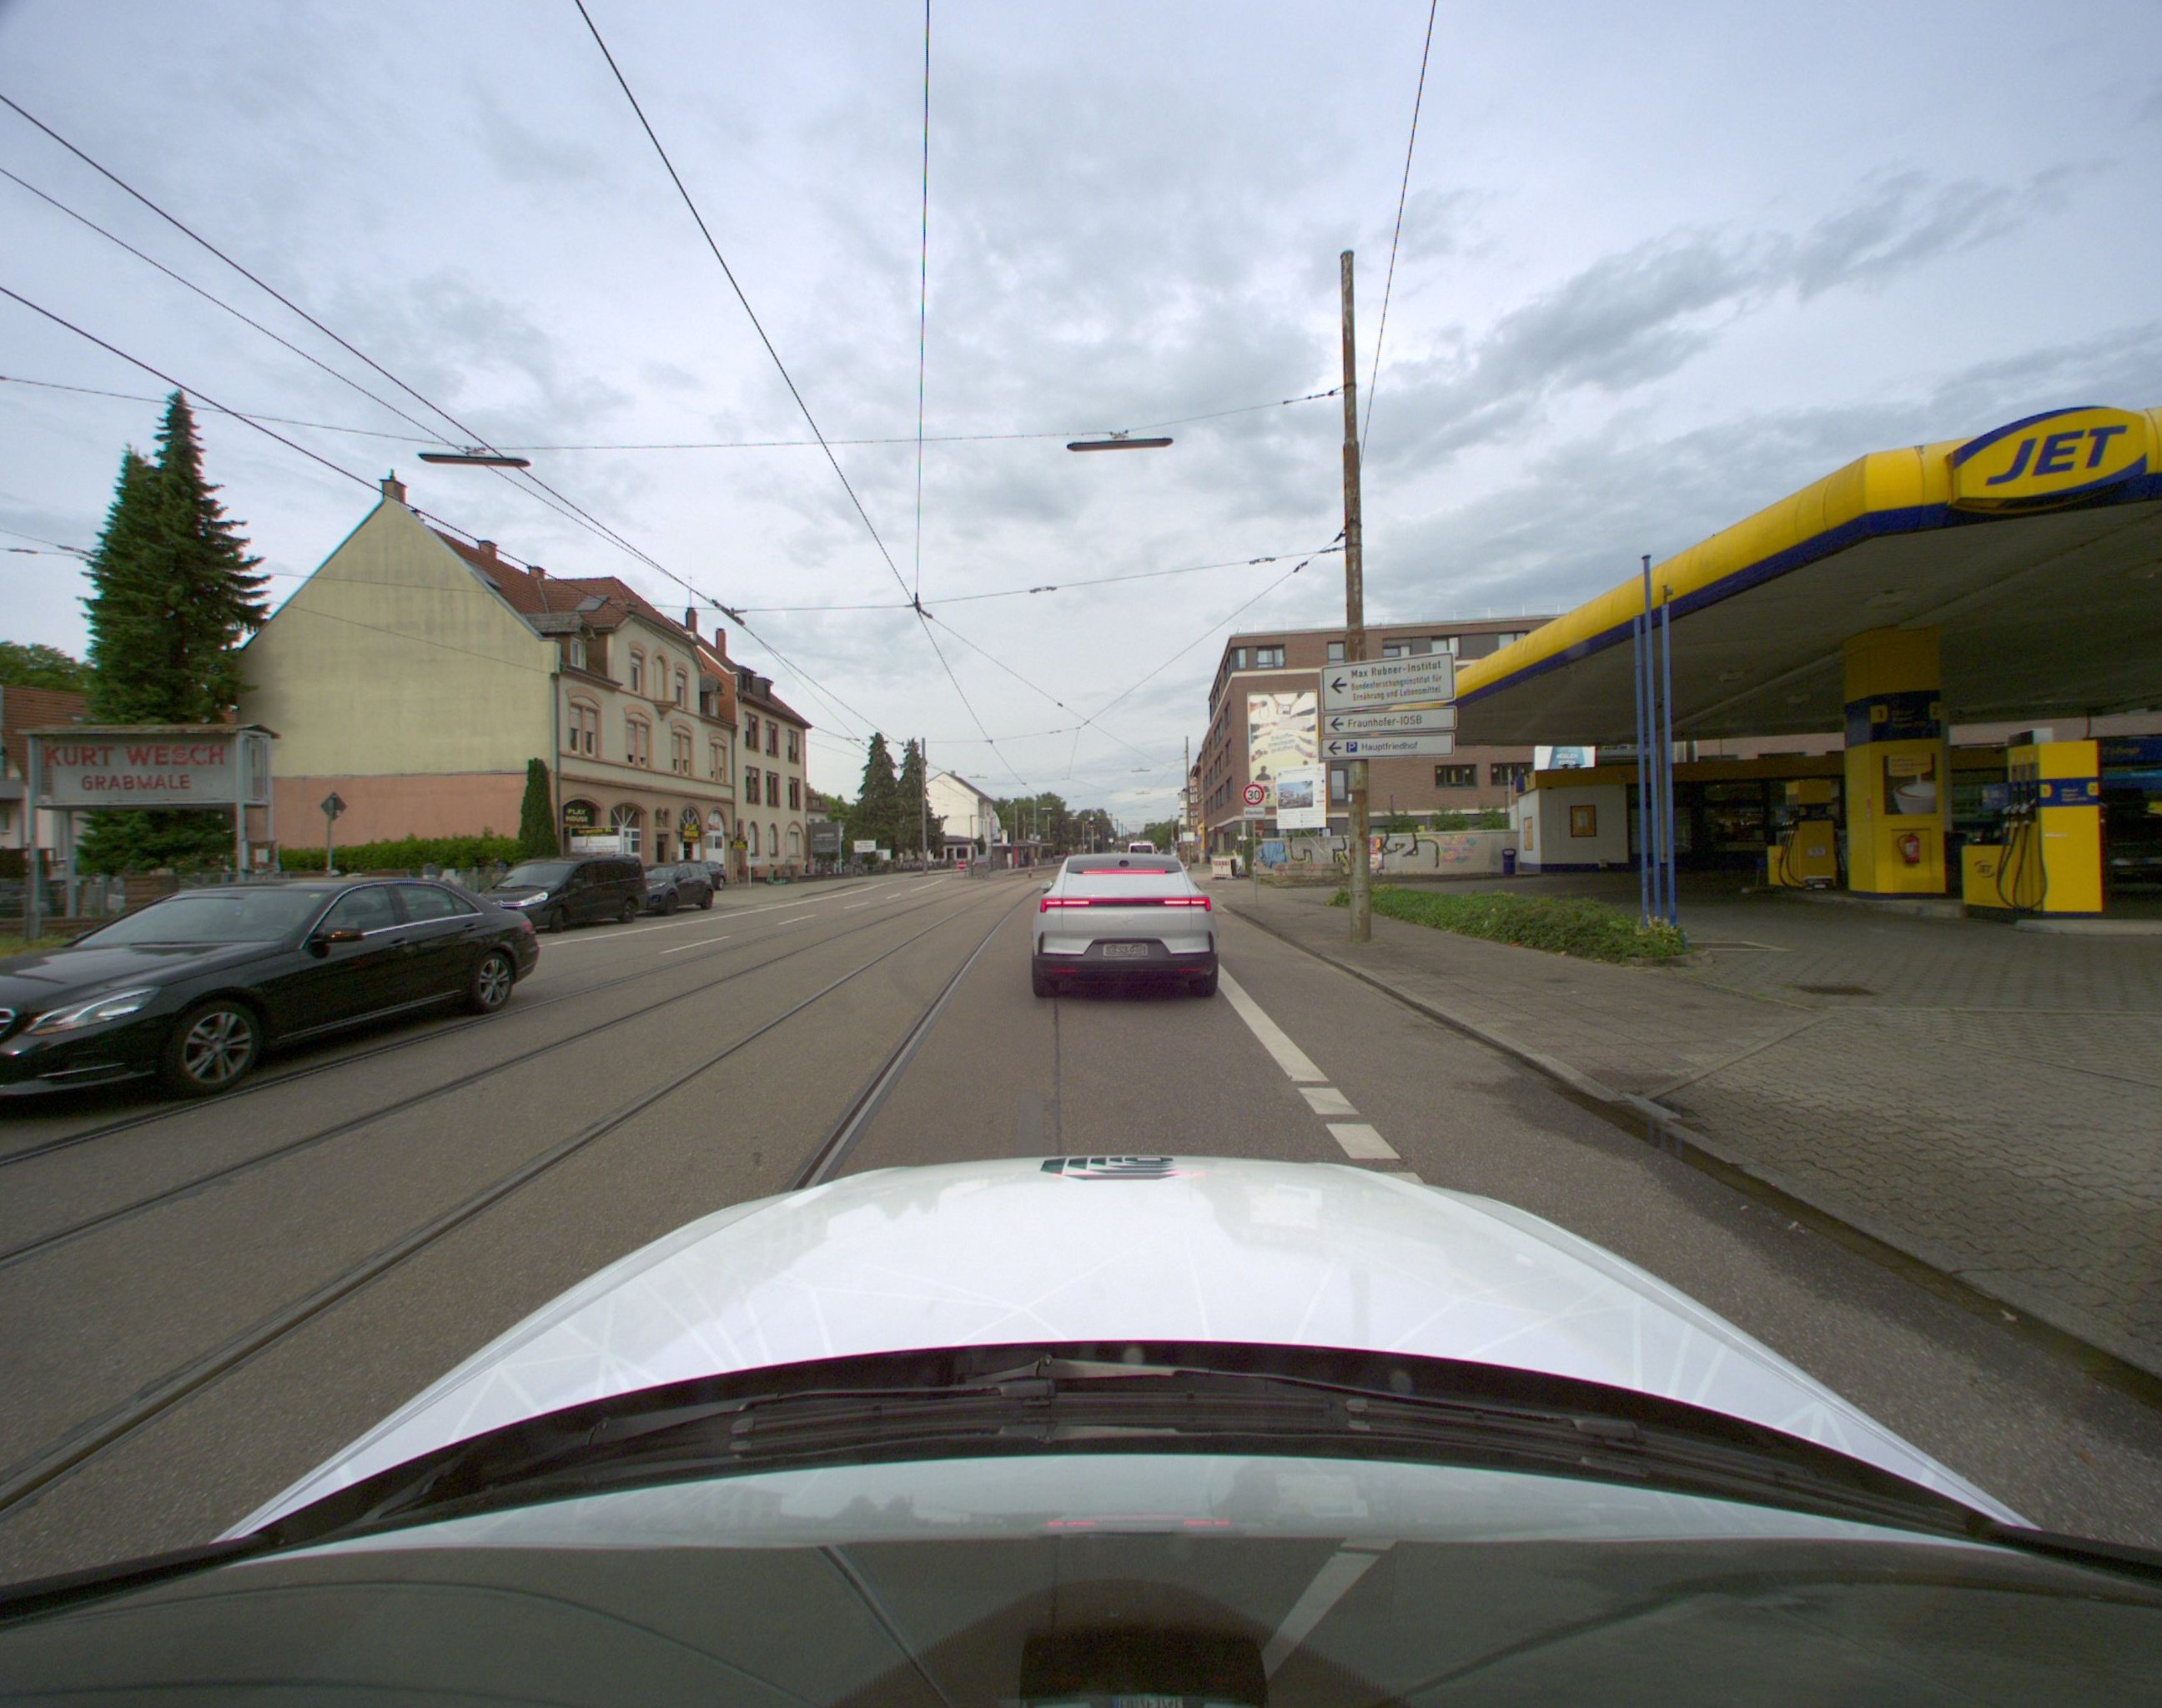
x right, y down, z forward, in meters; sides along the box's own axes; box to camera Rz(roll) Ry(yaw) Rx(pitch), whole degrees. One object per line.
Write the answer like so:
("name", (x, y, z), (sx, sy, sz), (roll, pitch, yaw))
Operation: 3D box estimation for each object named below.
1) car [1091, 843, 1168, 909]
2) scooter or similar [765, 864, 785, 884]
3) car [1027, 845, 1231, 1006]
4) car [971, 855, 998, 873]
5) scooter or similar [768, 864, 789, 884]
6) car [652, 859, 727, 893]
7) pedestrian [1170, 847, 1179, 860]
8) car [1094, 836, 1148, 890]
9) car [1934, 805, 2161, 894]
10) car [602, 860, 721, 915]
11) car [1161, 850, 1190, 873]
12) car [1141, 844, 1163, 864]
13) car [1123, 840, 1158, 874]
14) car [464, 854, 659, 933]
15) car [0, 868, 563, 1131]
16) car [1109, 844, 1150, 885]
("car", (1.328, 0.620, 23.640), (1.963, 1.756, 3.836), (0, -1, -1))
("scooter or similar", (-17.974, 1.166, 47.843), (1.056, 1.188, 0.315), (1, -1, -35))
("car", (0.394, 0.694, 9.972), (1.977, 1.550, 4.179), (0, 0, -2))
("car", (-9.446, 0.949, 79.849), (1.735, 1.741, 4.006), (0, -1, 5))
("scooter or similar", (-17.629, 1.160, 47.451), (1.056, 1.188, 0.315), (1, -1, -35))
("car", (-18.477, 1.020, 38.572), (1.748, 1.500, 3.745), (0, -1, -1))
("pedestrian", (14.652, -0.123, 127.542), (1.215, 2.013, 0.934), (-2, 0, 1))
("car", (1.555, 0.364, 32.872), (1.987, 2.014, 3.999), (0, -1, 0))
("car", (19.365, -0.089, 15.901), (1.973, 1.497, 4.348), (-3, -1, 20))
("car", (-13.914, 1.057, 27.324), (1.839, 1.718, 4.191), (0, -1, -1))
("car", (7.510, 0.587, 65.105), (1.868, 1.823, 4.096), (0, -1, 1))
("car", (7.874, 0.057, 90.398), (2.132, 2.146, 4.744), (0, -1, 1))
("car", (4.248, 0.234, 59.049), (2.209, 2.423, 4.950), (0, -1, 0))
("car", (-13.699, 0.973, 21.954), (1.985, 1.887, 4.998), (0, -1, 0))
("car", (-6.902, 0.899, 7.079), (1.943, 1.427, 4.878), (-2, 0, -5))
("car", (2.495, 0.551, 42.685), (1.986, 2.014, 4.001), (0, -1, 1))
